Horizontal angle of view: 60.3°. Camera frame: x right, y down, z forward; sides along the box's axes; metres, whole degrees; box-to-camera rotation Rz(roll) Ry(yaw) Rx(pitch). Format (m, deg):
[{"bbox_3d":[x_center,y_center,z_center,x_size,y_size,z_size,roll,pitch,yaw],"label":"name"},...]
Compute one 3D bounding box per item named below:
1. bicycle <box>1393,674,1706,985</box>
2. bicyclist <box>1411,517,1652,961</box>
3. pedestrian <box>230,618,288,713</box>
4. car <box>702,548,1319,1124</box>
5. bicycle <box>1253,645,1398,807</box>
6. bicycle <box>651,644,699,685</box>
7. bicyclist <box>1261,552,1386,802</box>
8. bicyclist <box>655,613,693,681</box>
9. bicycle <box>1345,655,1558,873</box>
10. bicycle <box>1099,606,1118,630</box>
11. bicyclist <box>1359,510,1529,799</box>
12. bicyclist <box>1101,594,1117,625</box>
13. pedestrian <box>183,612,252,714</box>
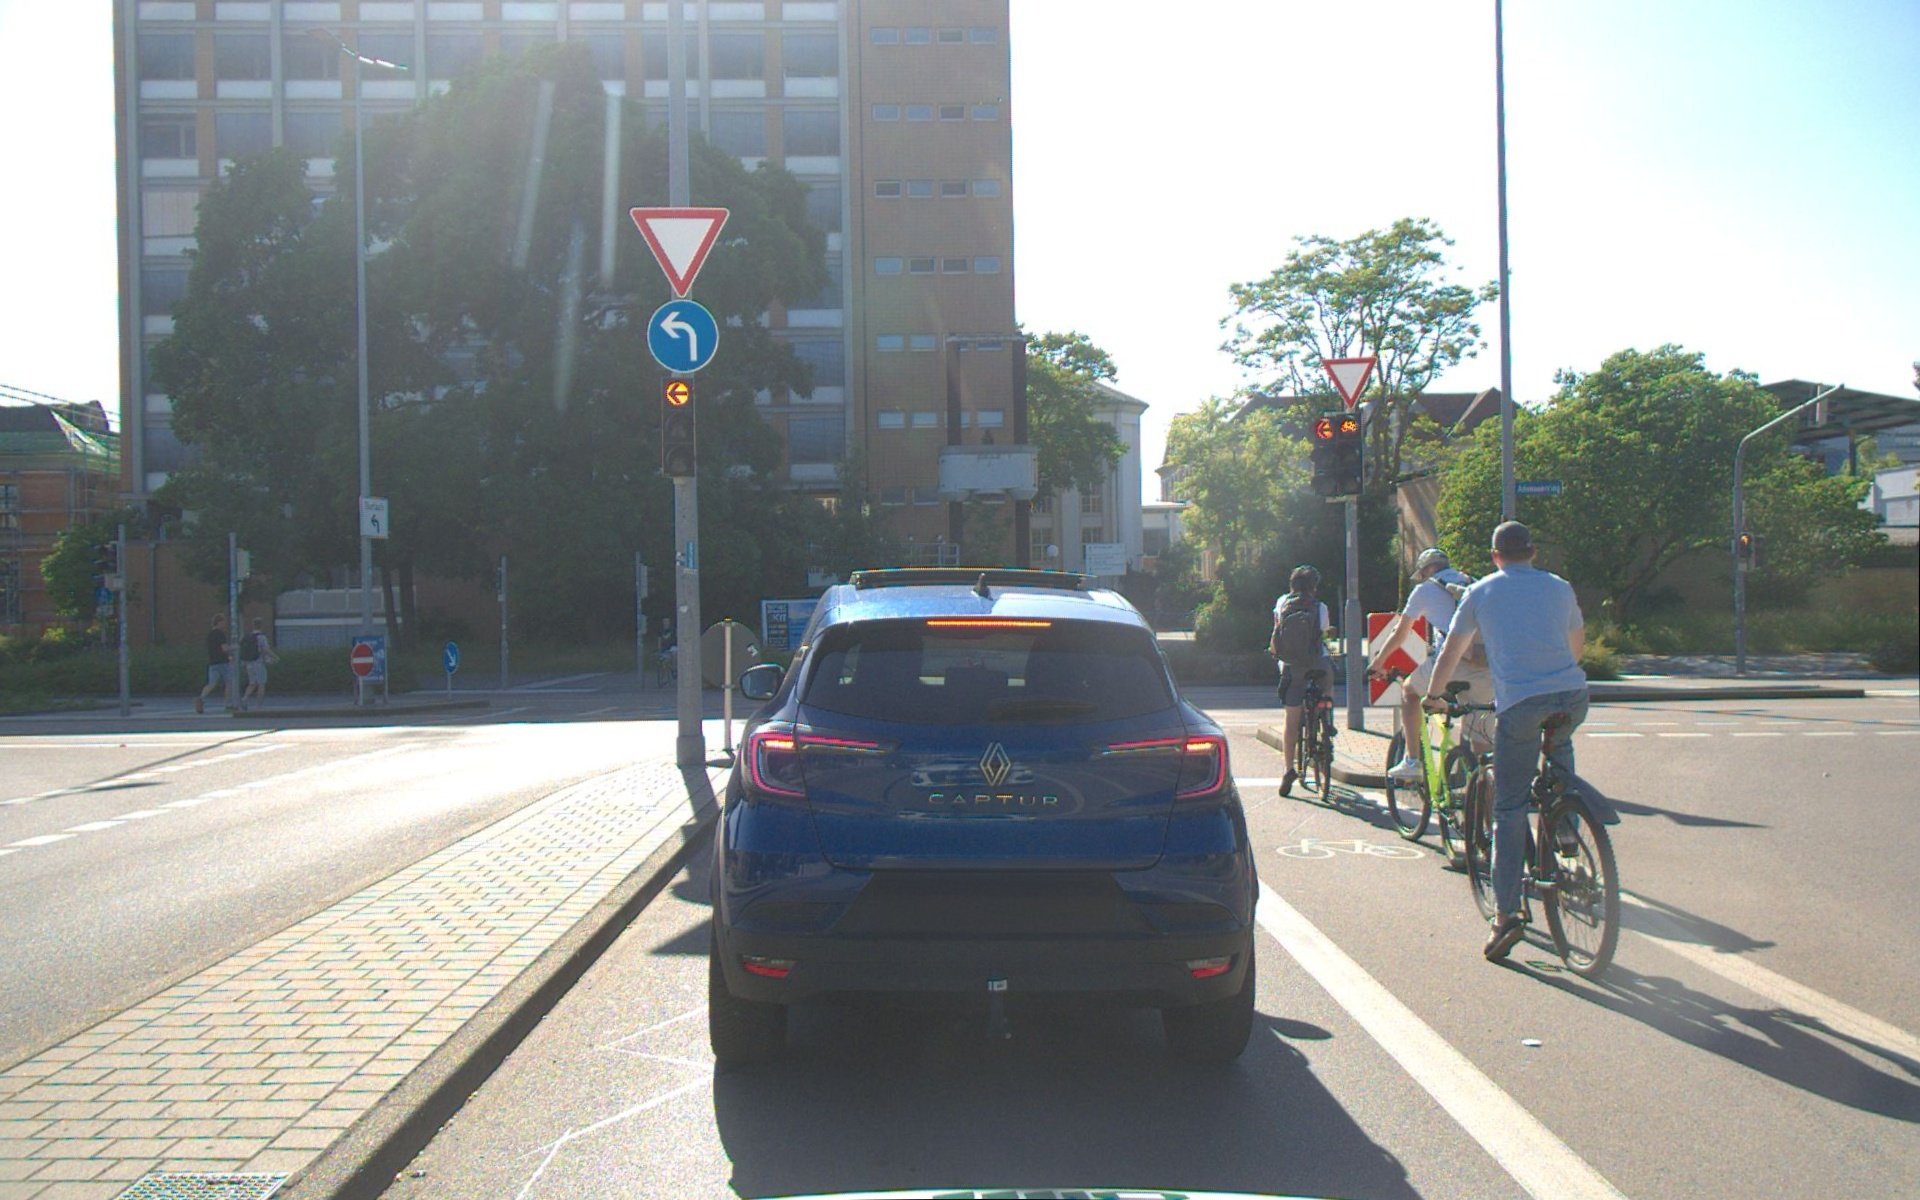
[{"bbox_3d":[2.512,0.922,7.303,0.675,1.108,1.922,0,0,-1],"label":"bicycle"},{"bbox_3d":[2.504,0.570,7.369,0.669,1.822,1.142,0,0,-1],"label":"bicyclist"},{"bbox_3d":[-13.263,1.237,31.313,0.666,1.761,0.761,-1,0,13],"label":"pedestrian"},{"bbox_3d":[0.064,0.665,6.642,1.753,1.613,3.912,0,0,-3],"label":"car"},{"bbox_3d":[2.790,0.930,12.814,0.675,1.108,1.922,0,0,-1],"label":"bicycle"},{"bbox_3d":[-7.522,1.700,43.767,0.739,1.002,2.095,-1,0,5],"label":"bicycle"},{"bbox_3d":[2.753,0.562,12.621,0.685,1.822,1.142,0,0,-1],"label":"bicyclist"},{"bbox_3d":[-7.540,1.227,43.664,0.739,1.746,0.999,-1,0,5],"label":"bicyclist"},{"bbox_3d":[2.867,0.912,9.849,0.675,1.108,1.922,0,0,-1],"label":"bicycle"},{"bbox_3d":[7.454,0.898,83.023,0.680,1.160,2.440,-1,0,-1],"label":"bicycle"},{"bbox_3d":[2.859,0.307,9.870,0.664,1.622,1.142,0,0,-1],"label":"bicyclist"},{"bbox_3d":[7.462,0.478,82.898,0.680,1.507,0.717,-1,0,-1],"label":"bicyclist"},{"bbox_3d":[-14.129,1.182,31.495,0.796,1.895,0.910,-1,0,13],"label":"pedestrian"}]
